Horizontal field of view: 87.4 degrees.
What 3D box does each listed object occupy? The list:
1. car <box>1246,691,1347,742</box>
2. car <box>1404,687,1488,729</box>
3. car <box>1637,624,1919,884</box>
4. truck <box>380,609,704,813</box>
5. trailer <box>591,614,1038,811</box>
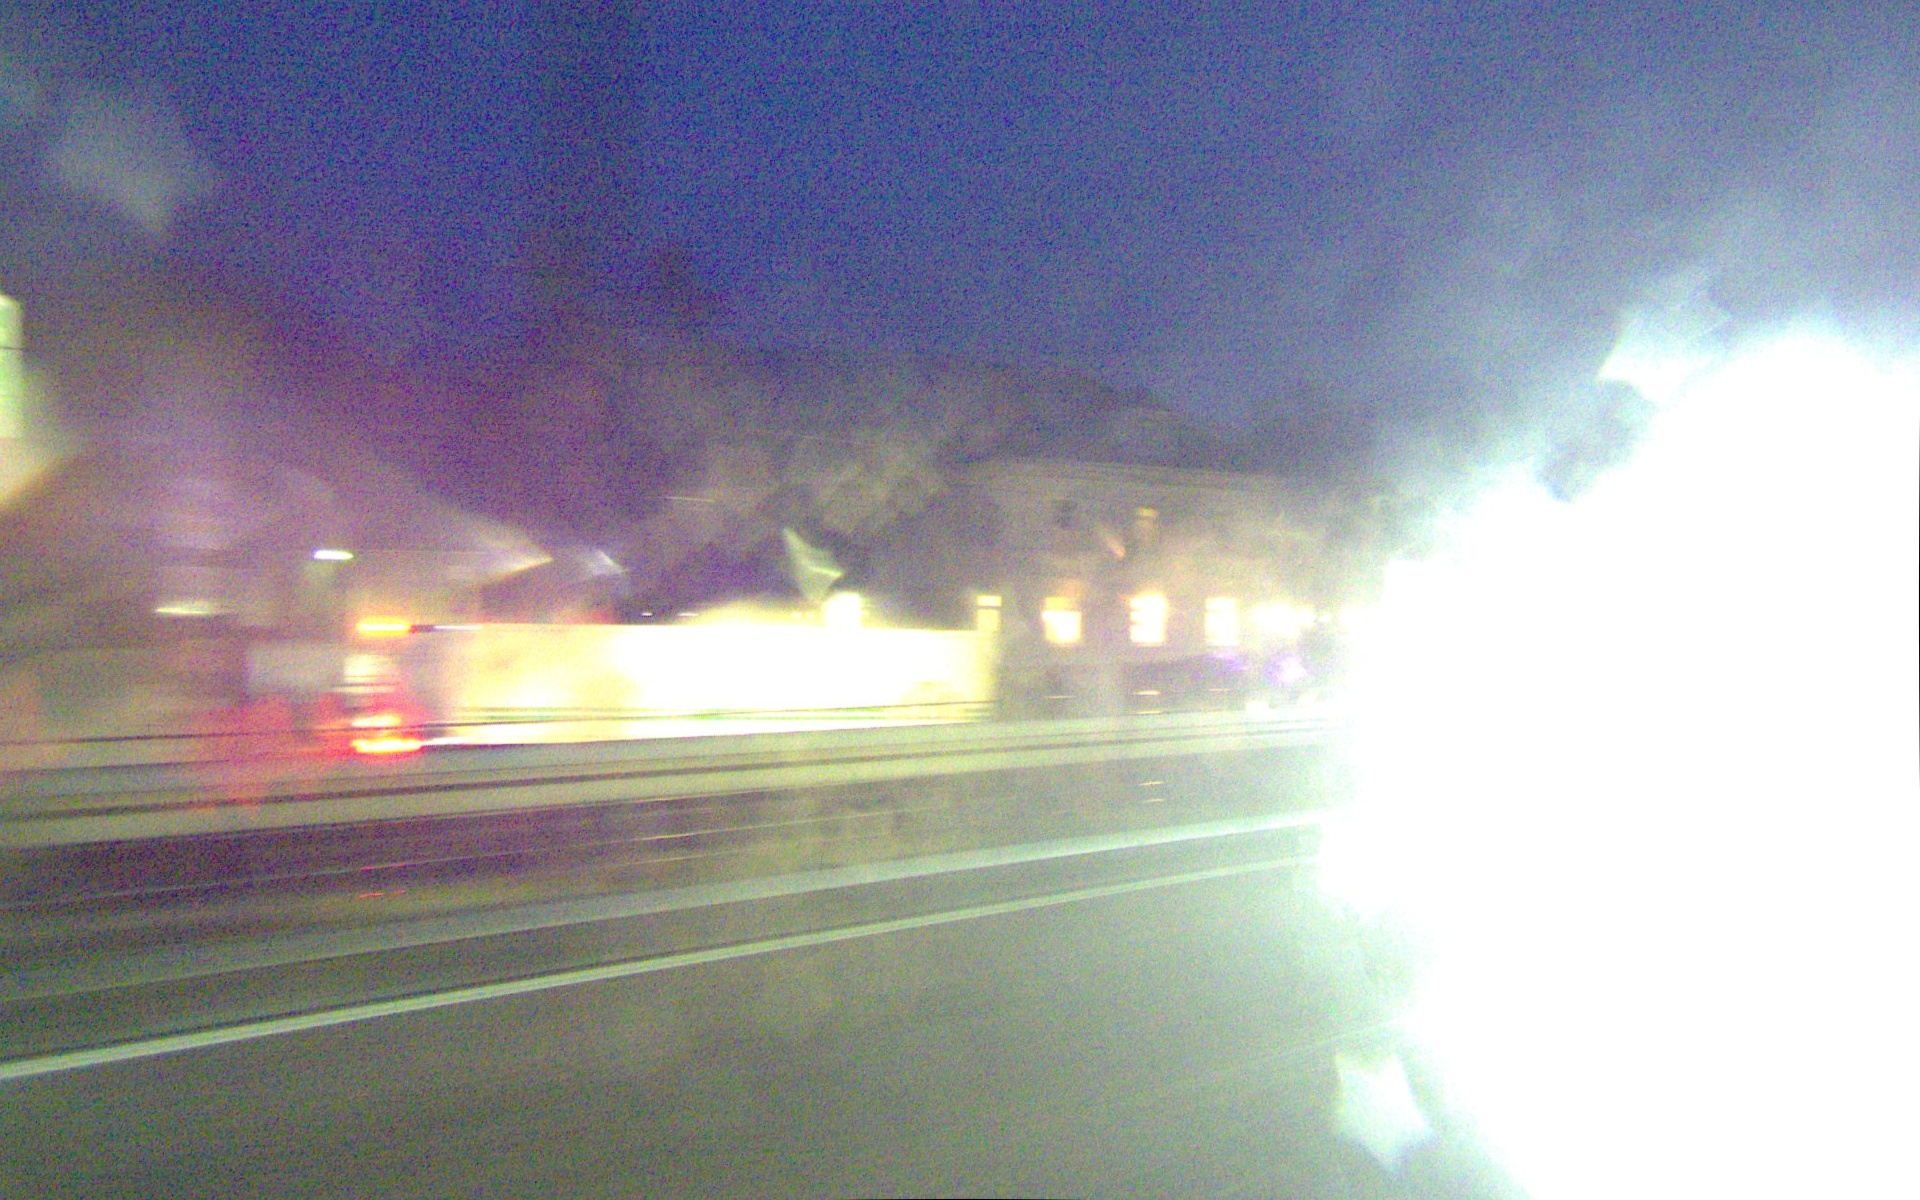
[{"bbox_3d":[13.622,4.650,40.572,4.254,1.698,1.795,2,-1,-38],"label":"car"},{"bbox_3d":[22.318,4.913,46.083,4.254,1.591,1.794,2,-1,-38],"label":"car"},{"bbox_3d":[6.893,0.973,7.430,3.638,1.498,1.776,2,-1,-31],"label":"car"},{"bbox_3d":[-10.593,2.771,26.370,7.189,4.860,3.332,1,0,-11],"label":"truck"},{"bbox_3d":[-3.808,2.955,27.607,11.350,4.860,3.332,2,0,-11],"label":"trailer"}]
